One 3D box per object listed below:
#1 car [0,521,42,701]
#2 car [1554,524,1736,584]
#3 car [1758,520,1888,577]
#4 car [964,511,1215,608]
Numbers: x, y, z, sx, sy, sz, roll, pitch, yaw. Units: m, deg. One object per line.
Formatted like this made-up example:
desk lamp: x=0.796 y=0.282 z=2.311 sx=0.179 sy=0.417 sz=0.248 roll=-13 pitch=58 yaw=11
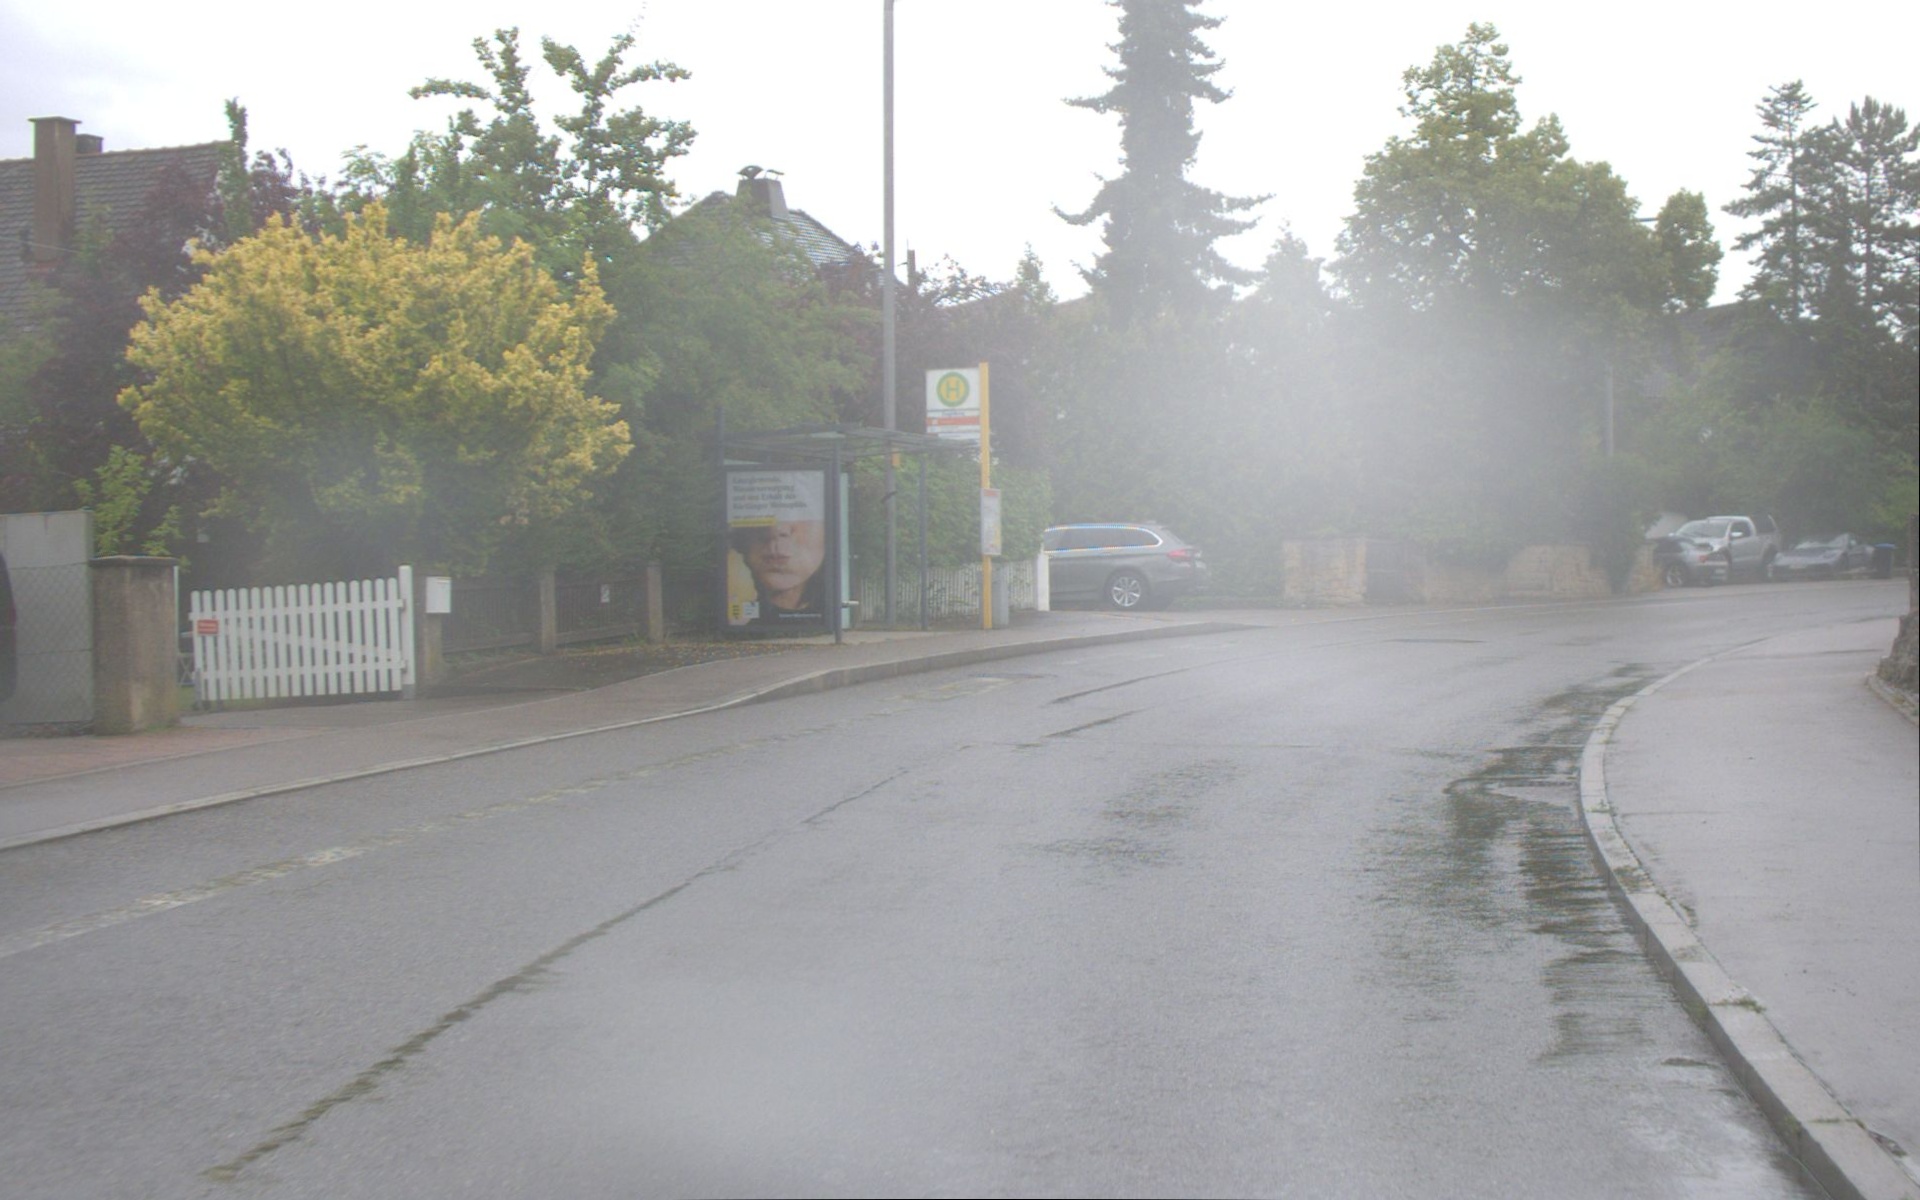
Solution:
car: x=-10.618 y=0.095 z=31.210 sx=3.991 sy=1.614 sz=1.998 roll=0 pitch=1 yaw=20
car: x=16.936 y=-1.146 z=85.010 sx=3.995 sy=1.455 sz=1.898 roll=0 pitch=1 yaw=34
car: x=23.051 y=-1.388 z=91.721 sx=1.998 sy=1.455 sz=3.992 roll=0 pitch=1 yaw=37
car: x=2.155 y=-0.671 z=56.720 sx=3.847 sy=1.567 sz=1.785 roll=0 pitch=1 yaw=14
